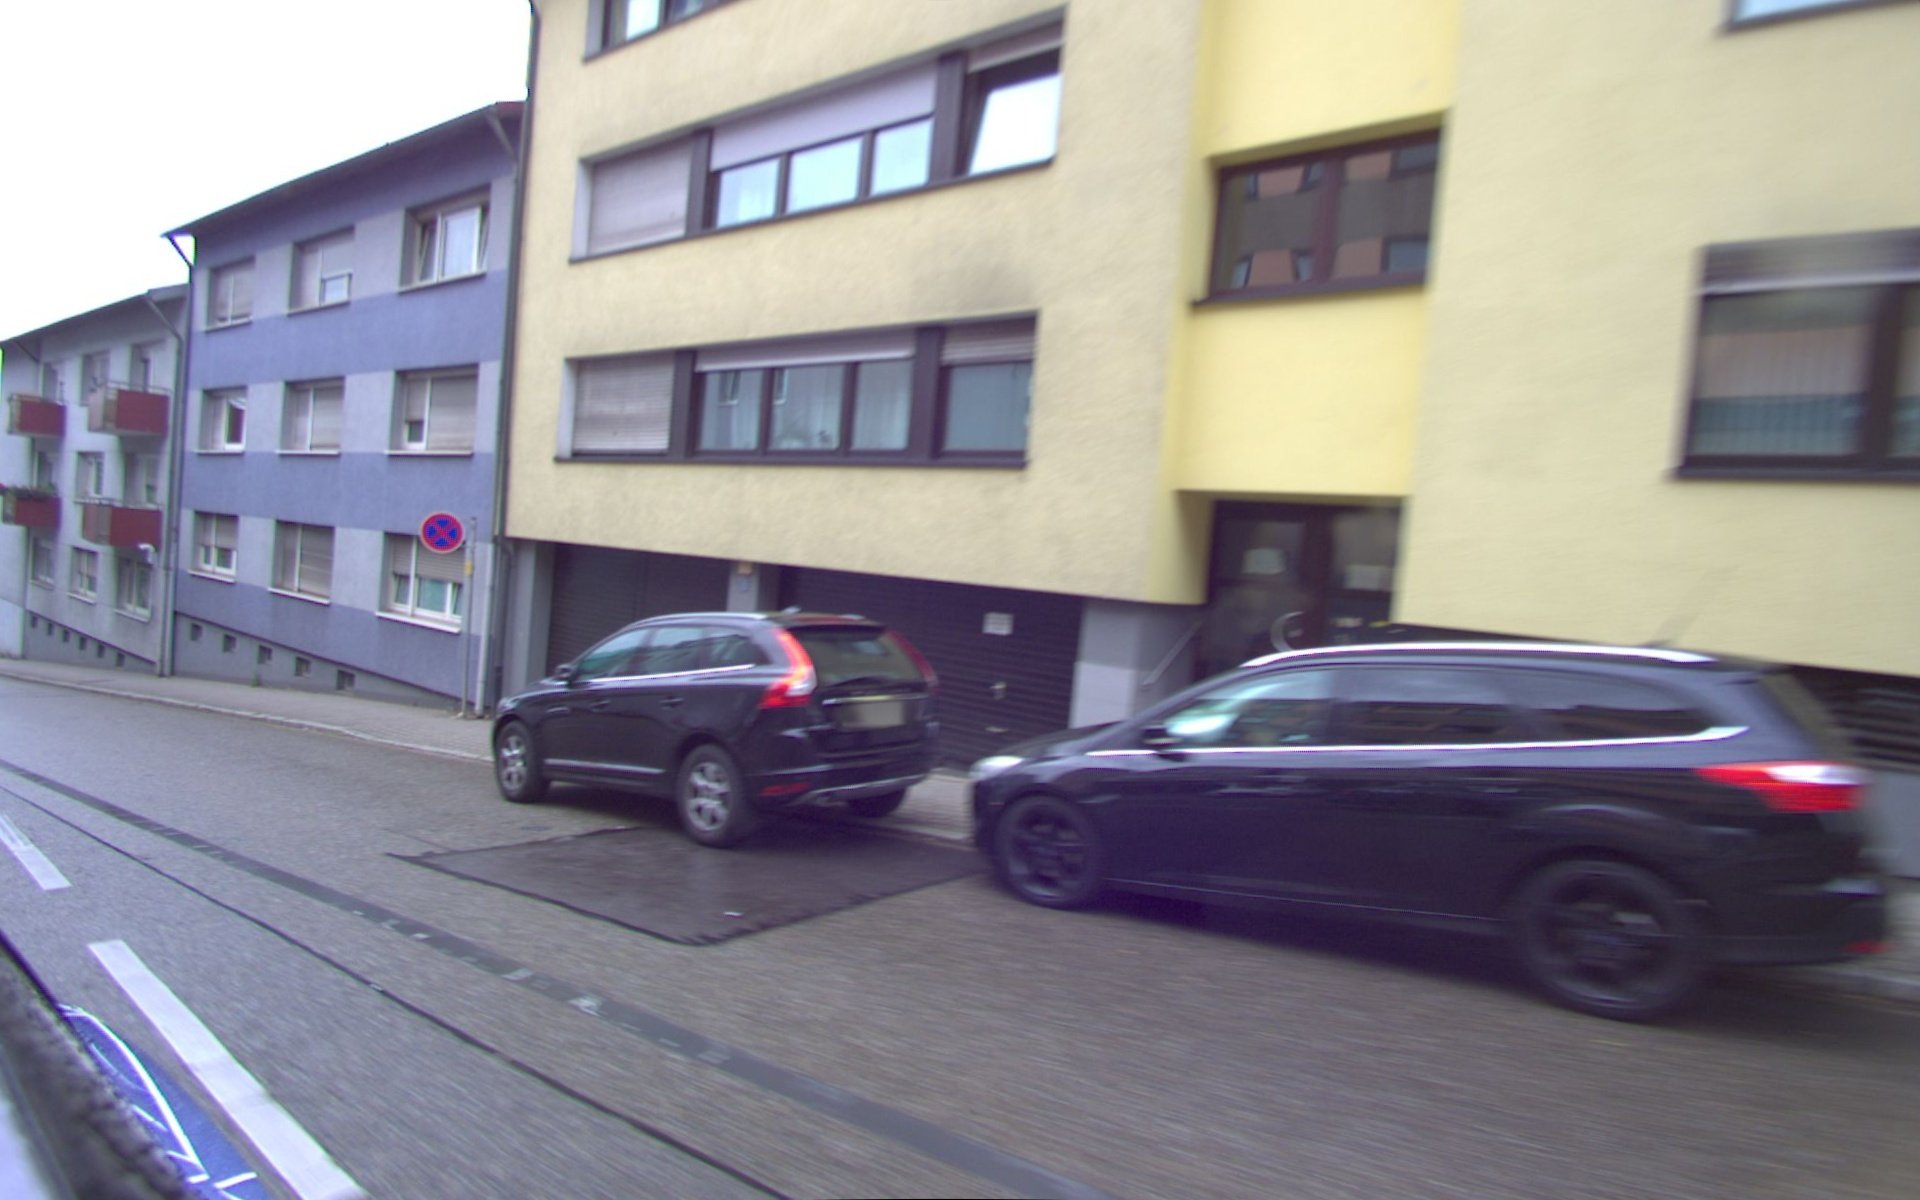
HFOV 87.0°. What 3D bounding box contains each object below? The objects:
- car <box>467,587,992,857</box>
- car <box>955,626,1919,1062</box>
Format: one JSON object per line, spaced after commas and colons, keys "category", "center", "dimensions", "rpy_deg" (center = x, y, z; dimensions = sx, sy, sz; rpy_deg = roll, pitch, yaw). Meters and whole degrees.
{"category": "car", "center": [-2.081, 0.801, 8.440], "dimensions": [4.437, 1.662, 1.974], "rpy_deg": [-1, -2, 39]}
{"category": "car", "center": [2.291, 0.887, 5.450], "dimensions": [4.339, 1.483, 1.976], "rpy_deg": [-1, -2, 36]}
